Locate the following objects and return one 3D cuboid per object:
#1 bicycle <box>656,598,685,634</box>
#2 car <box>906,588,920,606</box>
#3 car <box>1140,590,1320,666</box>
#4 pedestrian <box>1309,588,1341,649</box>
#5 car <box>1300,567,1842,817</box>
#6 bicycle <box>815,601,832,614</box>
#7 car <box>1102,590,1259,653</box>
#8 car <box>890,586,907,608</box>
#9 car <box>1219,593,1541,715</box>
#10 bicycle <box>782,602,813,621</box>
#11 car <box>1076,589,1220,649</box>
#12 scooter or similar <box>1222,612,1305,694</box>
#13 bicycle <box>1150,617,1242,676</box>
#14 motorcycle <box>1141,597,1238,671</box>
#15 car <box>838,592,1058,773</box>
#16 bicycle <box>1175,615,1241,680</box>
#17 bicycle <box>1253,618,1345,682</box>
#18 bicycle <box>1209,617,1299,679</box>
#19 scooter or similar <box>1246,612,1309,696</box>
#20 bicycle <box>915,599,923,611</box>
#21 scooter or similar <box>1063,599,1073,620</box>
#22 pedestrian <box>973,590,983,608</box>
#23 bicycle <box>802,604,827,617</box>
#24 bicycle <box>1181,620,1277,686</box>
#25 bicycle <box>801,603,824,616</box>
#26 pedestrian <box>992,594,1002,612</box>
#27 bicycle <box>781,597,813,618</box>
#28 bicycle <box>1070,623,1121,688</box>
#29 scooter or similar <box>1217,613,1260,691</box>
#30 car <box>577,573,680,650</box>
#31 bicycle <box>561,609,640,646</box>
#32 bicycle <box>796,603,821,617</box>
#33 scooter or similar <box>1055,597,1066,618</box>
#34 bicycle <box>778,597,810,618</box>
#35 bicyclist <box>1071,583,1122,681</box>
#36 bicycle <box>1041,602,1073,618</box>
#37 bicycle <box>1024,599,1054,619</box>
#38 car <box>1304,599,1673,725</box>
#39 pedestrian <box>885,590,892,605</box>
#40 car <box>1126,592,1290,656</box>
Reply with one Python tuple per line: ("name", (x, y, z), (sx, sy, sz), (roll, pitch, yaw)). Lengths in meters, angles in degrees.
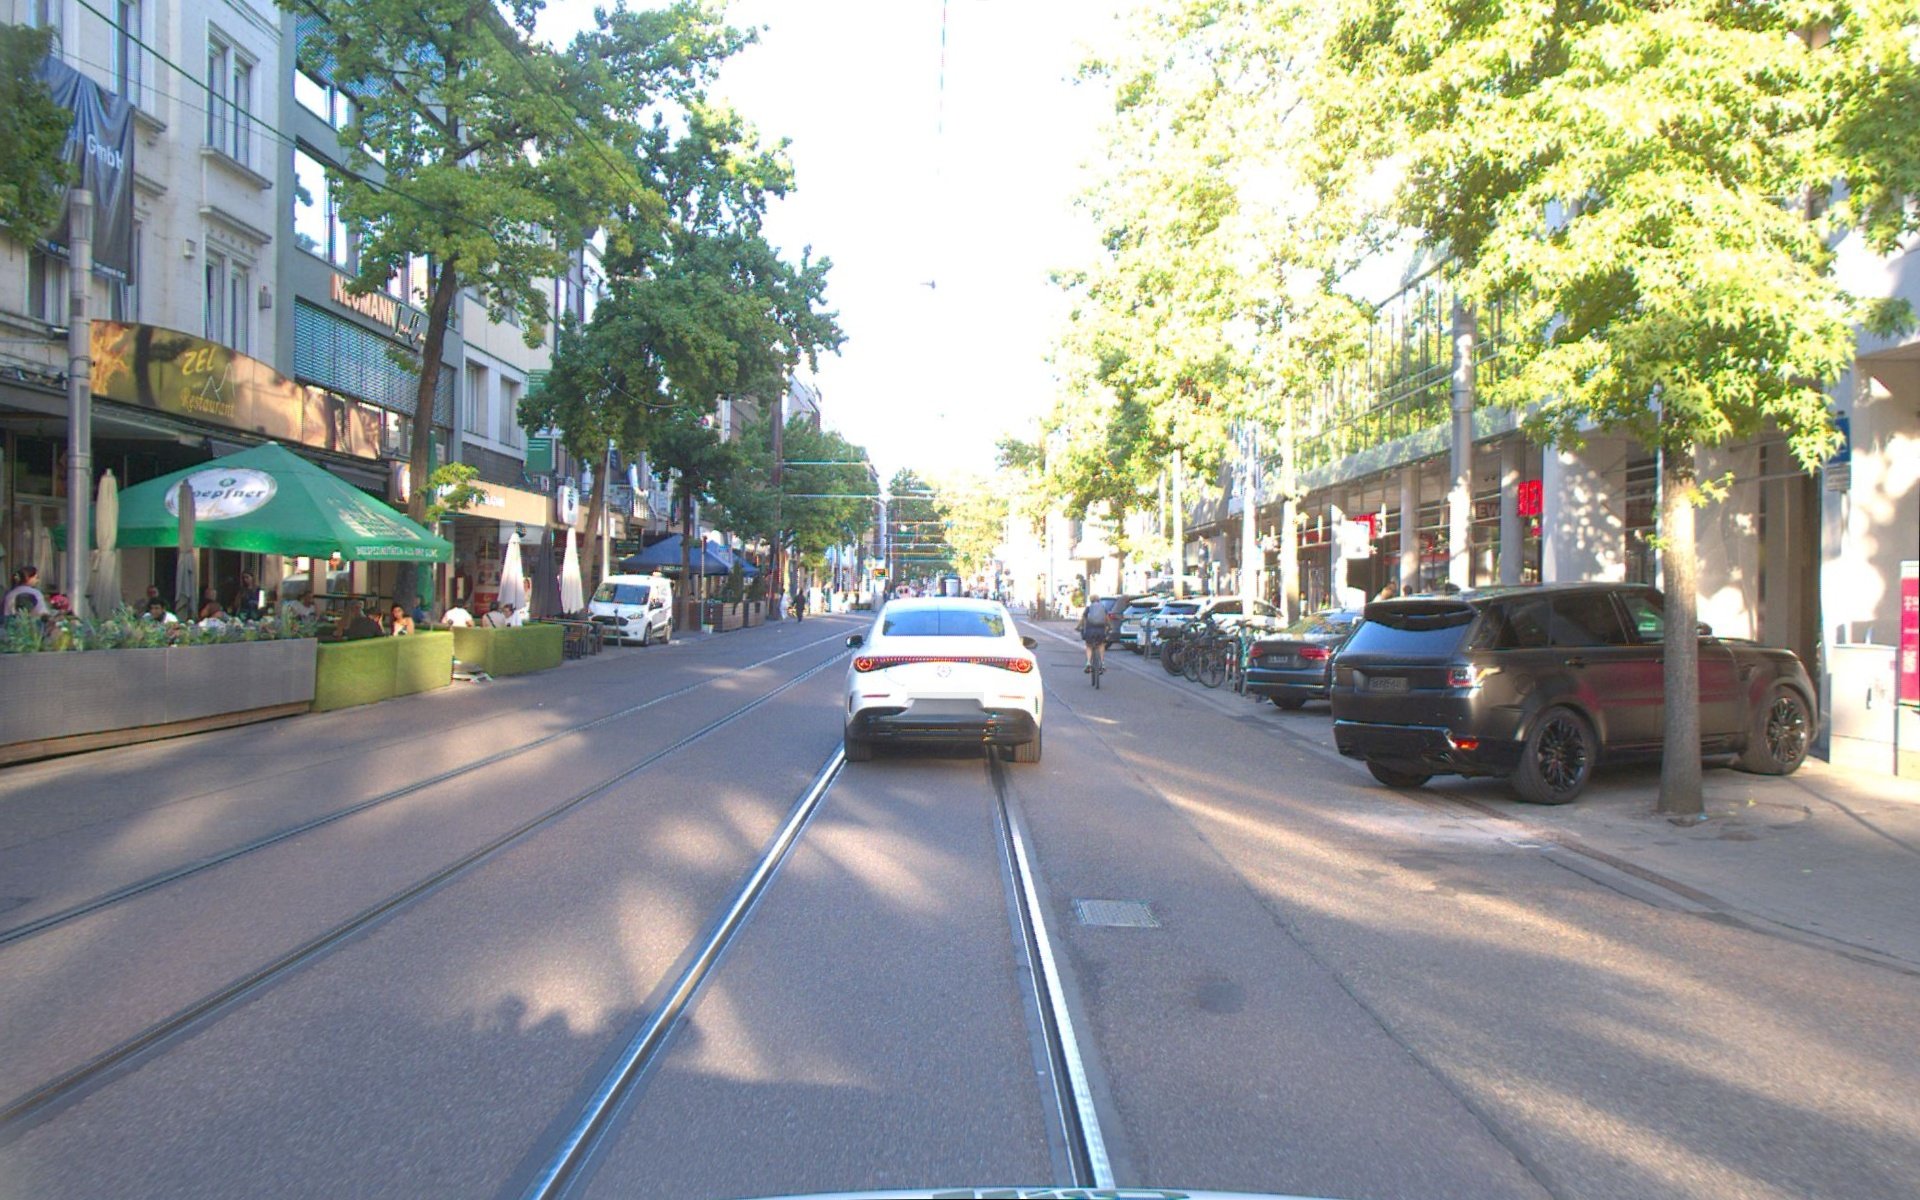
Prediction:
("bicycle", (-9.909, 0.531, 56.563), (0.686, 1.140, 2.076), (3, 0, -17))
("car", (-6.806, -0.416, 239.696), (1.870, 2.504, 5.275), (0, 0, 0))
("car", (6.482, 0.639, 39.558), (4.109, 1.598, 1.833), (-2, 0, -34))
("pedestrian", (10.091, 0.495, 45.728), (0.699, 1.652, 0.882), (-1, 0, 1))
("car", (5.436, 0.691, 14.585), (4.602, 1.794, 1.975), (-2, 0, -30))
("bicycle", (-10.943, 0.605, 132.747), (0.703, 1.027, 2.041), (0, 0, 13))
("car", (6.298, 0.595, 47.104), (4.194, 1.615, 1.864), (-2, 0, -32))
("car", (-8.225, -0.429, 221.009), (1.952, 2.948, 5.275), (0, 0, 0))
("car", (6.378, 0.753, 24.870), (5.006, 1.494, 1.952), (-3, 0, -36))
("bicycle", (-8.768, 0.618, 89.121), (1.562, 0.947, 0.377), (2, 0, 6))
("car", (5.827, 0.564, 51.110), (4.300, 1.681, 1.676), (-2, 0, -32))
("scooter or similar", (5.169, 0.898, 28.128), (1.290, 1.298, 0.558), (-3, 0, -32))
("bicycle", (4.981, 0.967, 34.847), (1.870, 1.139, 0.661), (-2, -1, -30))
("motorcycle", (5.073, 0.734, 36.415), (2.301, 1.536, 0.845), (-2, -1, -44))
("car", (-0.112, 0.694, 16.079), (1.819, 1.481, 4.174), (1, 0, 0))
("bicycle", (4.936, 0.936, 32.898), (0.472, 1.183, 1.687), (-3, 0, 39))
("bicycle", (6.464, 0.934, 31.530), (1.652, 1.093, 0.725), (-3, 2, -31))
("bicycle", (5.806, 0.934, 32.621), (1.669, 1.125, 0.627), (-3, 0, -27))
("scooter or similar", (5.252, 0.879, 27.307), (0.449, 1.298, 1.302), (-3, 0, 36))
("bicycle", (-4.224, 0.538, 171.699), (0.784, 1.162, 2.256), (2, 0, -2))
("scooter or similar", (6.831, 0.596, 104.722), (0.482, 1.299, 0.658), (-1, 0, -11))
("pedestrian", (1.856, -0.113, 169.893), (0.941, 1.816, 0.803), (-1, 0, -1))
("bicycle", (-8.896, 0.638, 100.857), (1.462, 0.797, 0.344), (2, 0, 1))
("bicycle", (4.989, 0.966, 30.650), (1.542, 1.107, 0.860), (-3, 2, -31))
("bicycle", (-9.805, 0.620, 109.793), (1.462, 0.797, 0.344), (2, 0, 1))
("pedestrian", (3.689, 0.312, 166.849), (0.941, 1.816, 0.803), (-1, 0, -1))
("bicycle", (-9.093, 0.425, 92.357), (1.754, 1.096, 0.377), (2, 0, -5))
("bicycle", (2.369, 0.943, 28.749), (0.703, 1.012, 2.060), (2, 0, 9))
("scooter or similar", (4.891, 0.902, 29.065), (0.441, 1.298, 1.306), (-3, 0, -1))
("car", (-9.075, 0.295, 45.608), (1.759, 1.897, 4.554), (3, 0, 1))
("bicycle", (-9.158, 0.715, 42.221), (0.821, 0.880, 1.852), (3, 0, 38))
("bicycle", (-9.142, 0.598, 100.054), (1.462, 0.797, 0.344), (2, 0, 1))
("scooter or similar", (6.423, 0.480, 105.264), (0.518, 1.299, 0.658), (-1, 0, -11))
("bicycle", (-9.636, 0.459, 96.152), (1.808, 1.160, 0.377), (2, 0, 1))
("bicyclist", (2.371, 0.550, 28.658), (0.761, 1.641, 0.913), (2, 0, 9))
("bicycle", (6.586, 0.675, 112.304), (2.077, 1.115, 0.608), (0, 0, -13))
("bicycle", (5.267, 0.616, 109.978), (1.874, 1.303, 0.608), (-1, 0, -12))
("car", (7.144, 0.782, 22.381), (4.586, 1.451, 1.922), (-2, 0, -22))
("pedestrian", (-7.651, -0.257, 177.153), (0.646, 1.627, 0.573), (0, 0, -1))
("car", (6.647, 0.628, 44.324), (4.092, 1.525, 1.676), (-2, 0, -24))
